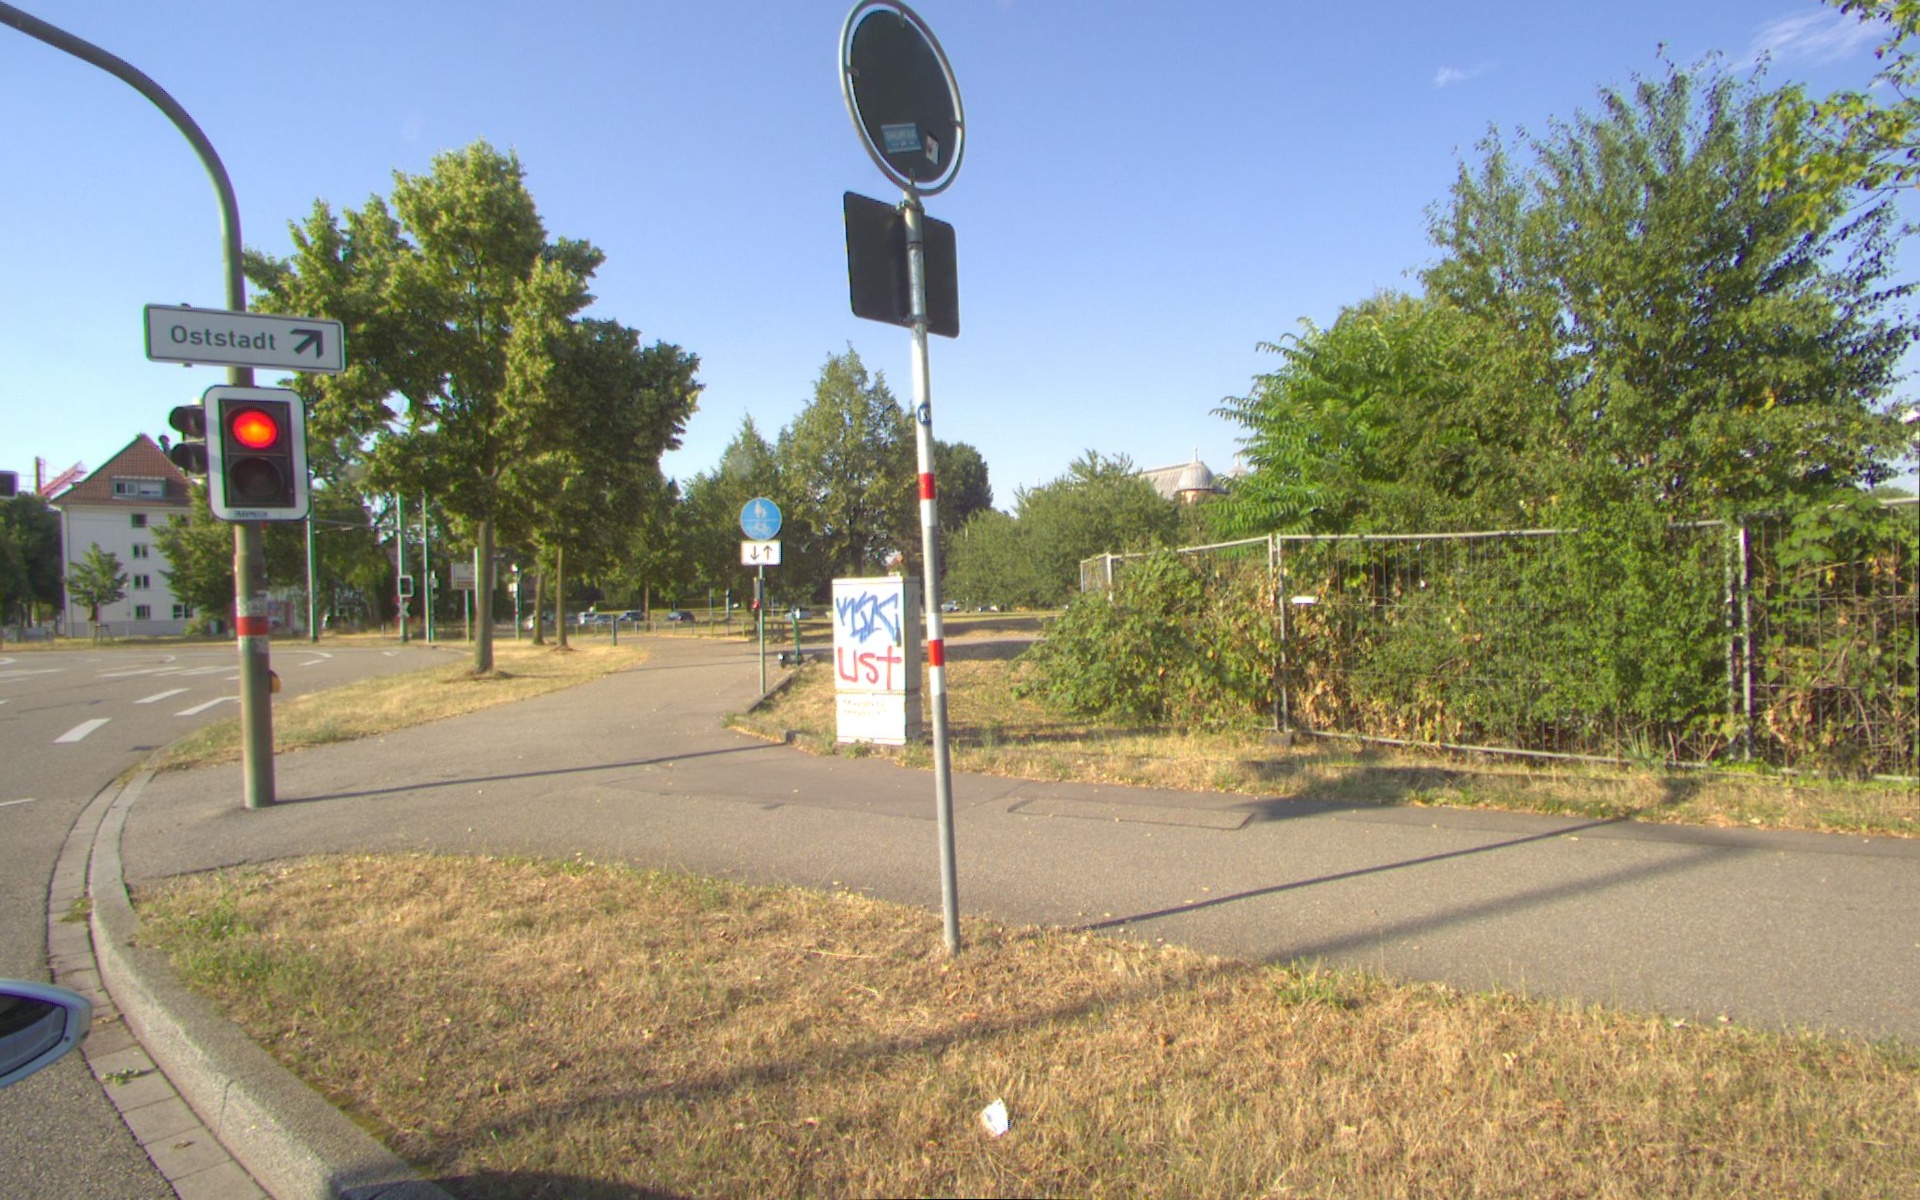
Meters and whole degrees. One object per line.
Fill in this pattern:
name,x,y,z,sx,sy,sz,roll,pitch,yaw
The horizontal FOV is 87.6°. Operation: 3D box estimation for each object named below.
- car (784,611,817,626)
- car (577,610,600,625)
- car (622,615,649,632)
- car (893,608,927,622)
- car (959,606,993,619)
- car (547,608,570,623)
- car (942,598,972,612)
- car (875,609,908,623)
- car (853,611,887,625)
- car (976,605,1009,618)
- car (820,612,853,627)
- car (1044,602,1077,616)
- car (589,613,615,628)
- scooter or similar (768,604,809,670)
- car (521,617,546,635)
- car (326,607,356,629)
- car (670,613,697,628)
car,-15.958,1.853,99.910,1.803,1.421,3.976,-1,-1,-33
car,-37.018,1.724,99.762,1.583,1.420,3.950,-1,0,-29
car,-29.331,2.145,90.532,1.583,1.420,3.950,-1,0,-29
car,-5.335,1.646,106.796,1.803,1.421,3.976,-1,-1,-33
car,1.751,1.416,111.474,1.803,1.421,3.976,-1,-1,-33
car,-39.326,1.523,98.019,1.583,1.420,3.950,-1,0,-29
car,-0.400,0.612,123.615,1.803,1.694,3.976,-1,0,-33
car,-7.242,1.729,105.543,1.803,1.421,3.976,-1,-1,-33
car,-9.401,1.883,104.062,1.802,1.421,3.976,-3,1,-33
car,3.625,1.297,113.059,1.803,1.421,3.976,-1,-1,-33
car,-12.739,2.025,102.914,1.803,1.421,3.976,-1,-1,-33
car,11.835,1.048,118.391,1.803,1.590,3.974,-1,1,-33
car,-32.177,1.851,89.970,1.583,1.237,3.950,-1,-1,-29
scooter or similar,-3.285,0.691,19.218,0.336,1.175,1.169,-4,2,8
car,-36.801,2.251,86.389,1.583,1.420,3.950,-1,0,-29
car,-48.189,1.393,77.998,1.751,1.639,3.950,-1,0,-29
car,-25.655,1.889,92.804,1.583,1.327,3.950,-1,-1,-29
